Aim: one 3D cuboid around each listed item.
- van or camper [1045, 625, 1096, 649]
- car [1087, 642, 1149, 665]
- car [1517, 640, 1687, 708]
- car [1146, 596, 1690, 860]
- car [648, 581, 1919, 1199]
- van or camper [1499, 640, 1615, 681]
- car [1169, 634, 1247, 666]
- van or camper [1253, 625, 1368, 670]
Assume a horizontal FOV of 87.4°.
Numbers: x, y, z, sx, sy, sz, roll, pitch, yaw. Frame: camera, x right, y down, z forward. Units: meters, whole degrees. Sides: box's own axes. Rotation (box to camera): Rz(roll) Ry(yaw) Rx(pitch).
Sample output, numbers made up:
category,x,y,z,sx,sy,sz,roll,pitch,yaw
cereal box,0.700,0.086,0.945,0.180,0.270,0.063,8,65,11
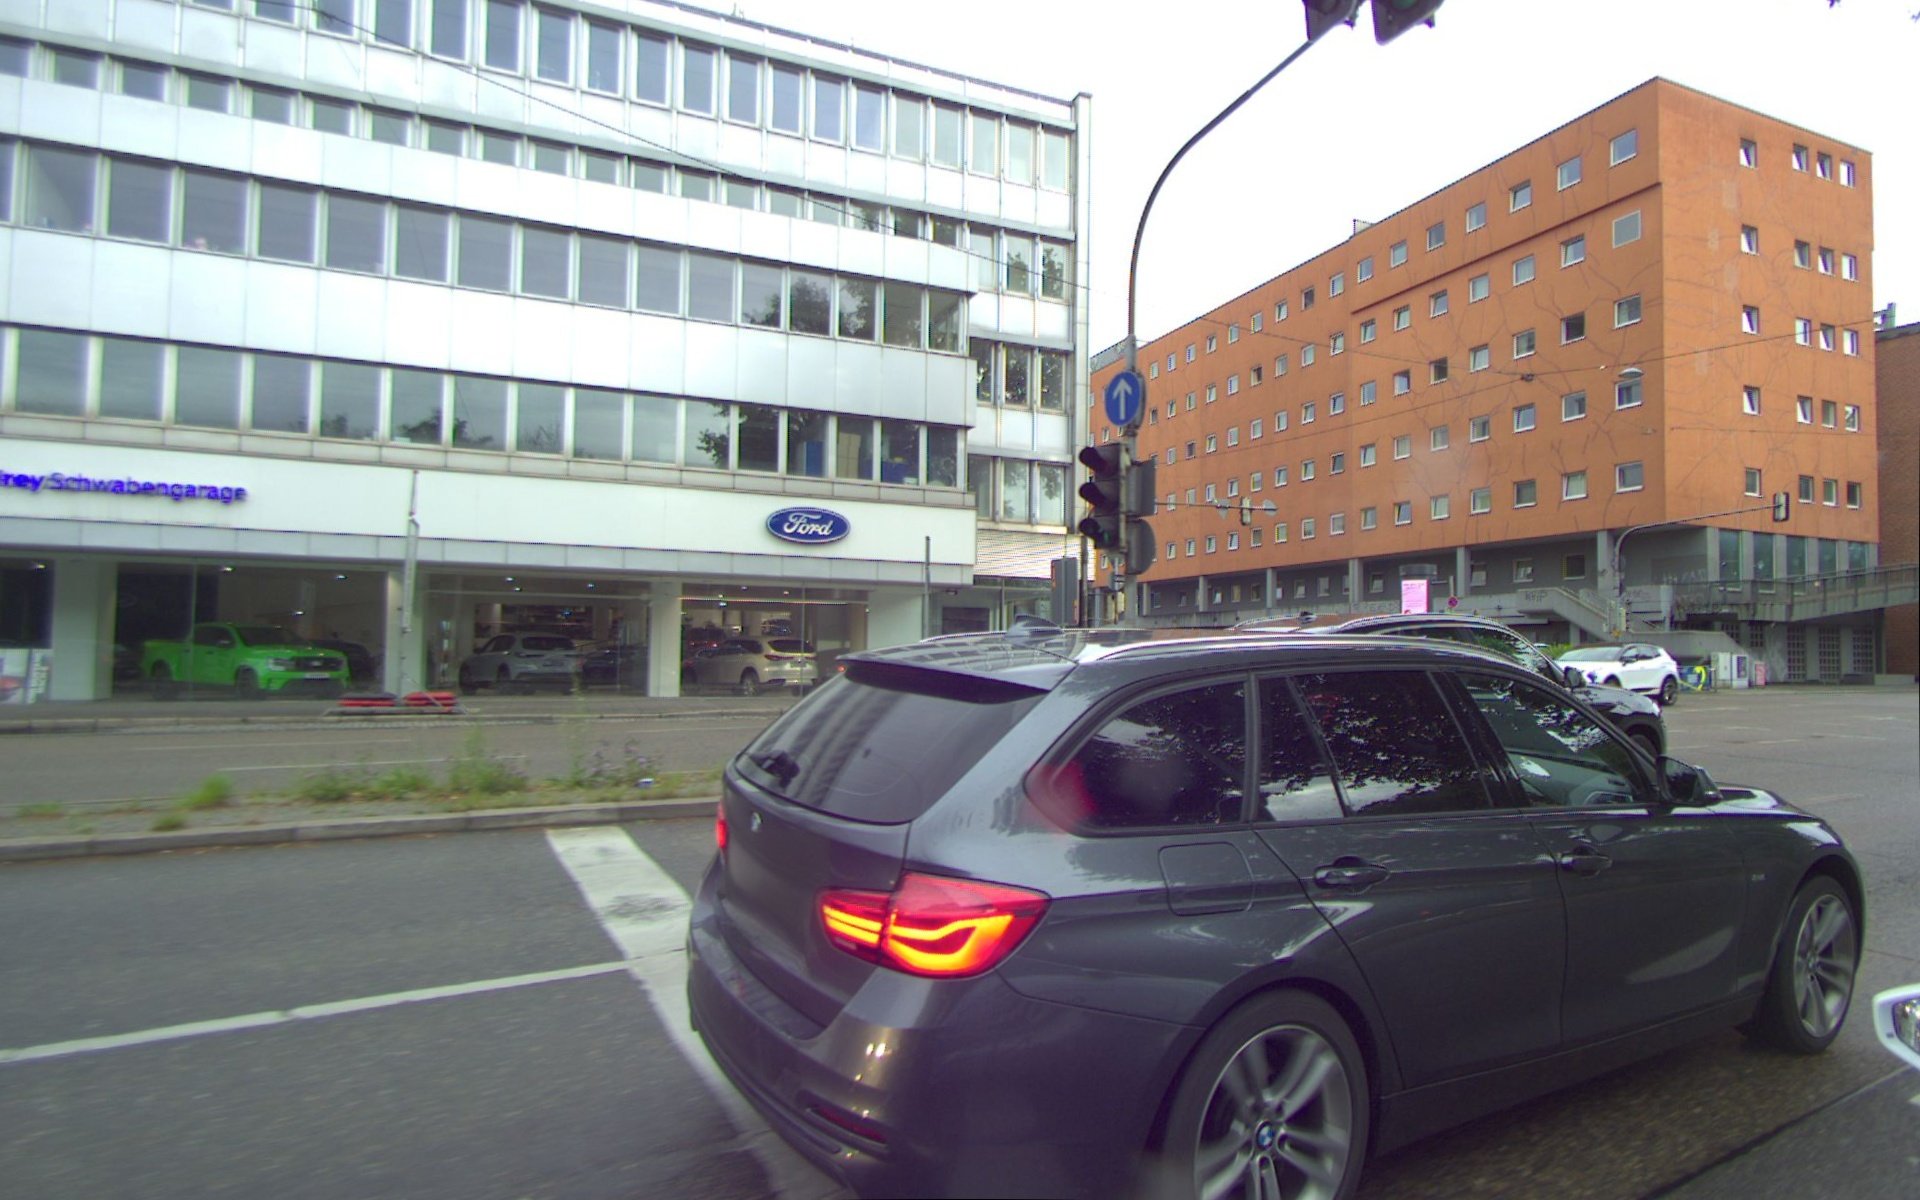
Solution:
category,x,y,z,sx,sy,sz,roll,pitch,yaw
van or camper,10.450,3.508,94.996,4.313,2.004,1.963,2,0,-23
car,9.724,3.305,62.019,3.460,1.311,1.532,2,-2,-12
car,16.866,1.917,26.338,4.401,1.631,1.882,2,-2,-28
car,3.863,0.896,8.315,4.390,1.678,1.801,2,0,-29
car,1.377,0.806,3.492,4.424,1.477,1.769,2,-3,-30
van or camper,25.765,2.589,43.485,1.887,1.649,3.977,1,-2,-24
car,13.961,2.789,56.540,4.028,1.633,1.706,2,0,-23
van or camper,17.481,2.368,50.027,5.377,2.004,2.120,2,0,-24
